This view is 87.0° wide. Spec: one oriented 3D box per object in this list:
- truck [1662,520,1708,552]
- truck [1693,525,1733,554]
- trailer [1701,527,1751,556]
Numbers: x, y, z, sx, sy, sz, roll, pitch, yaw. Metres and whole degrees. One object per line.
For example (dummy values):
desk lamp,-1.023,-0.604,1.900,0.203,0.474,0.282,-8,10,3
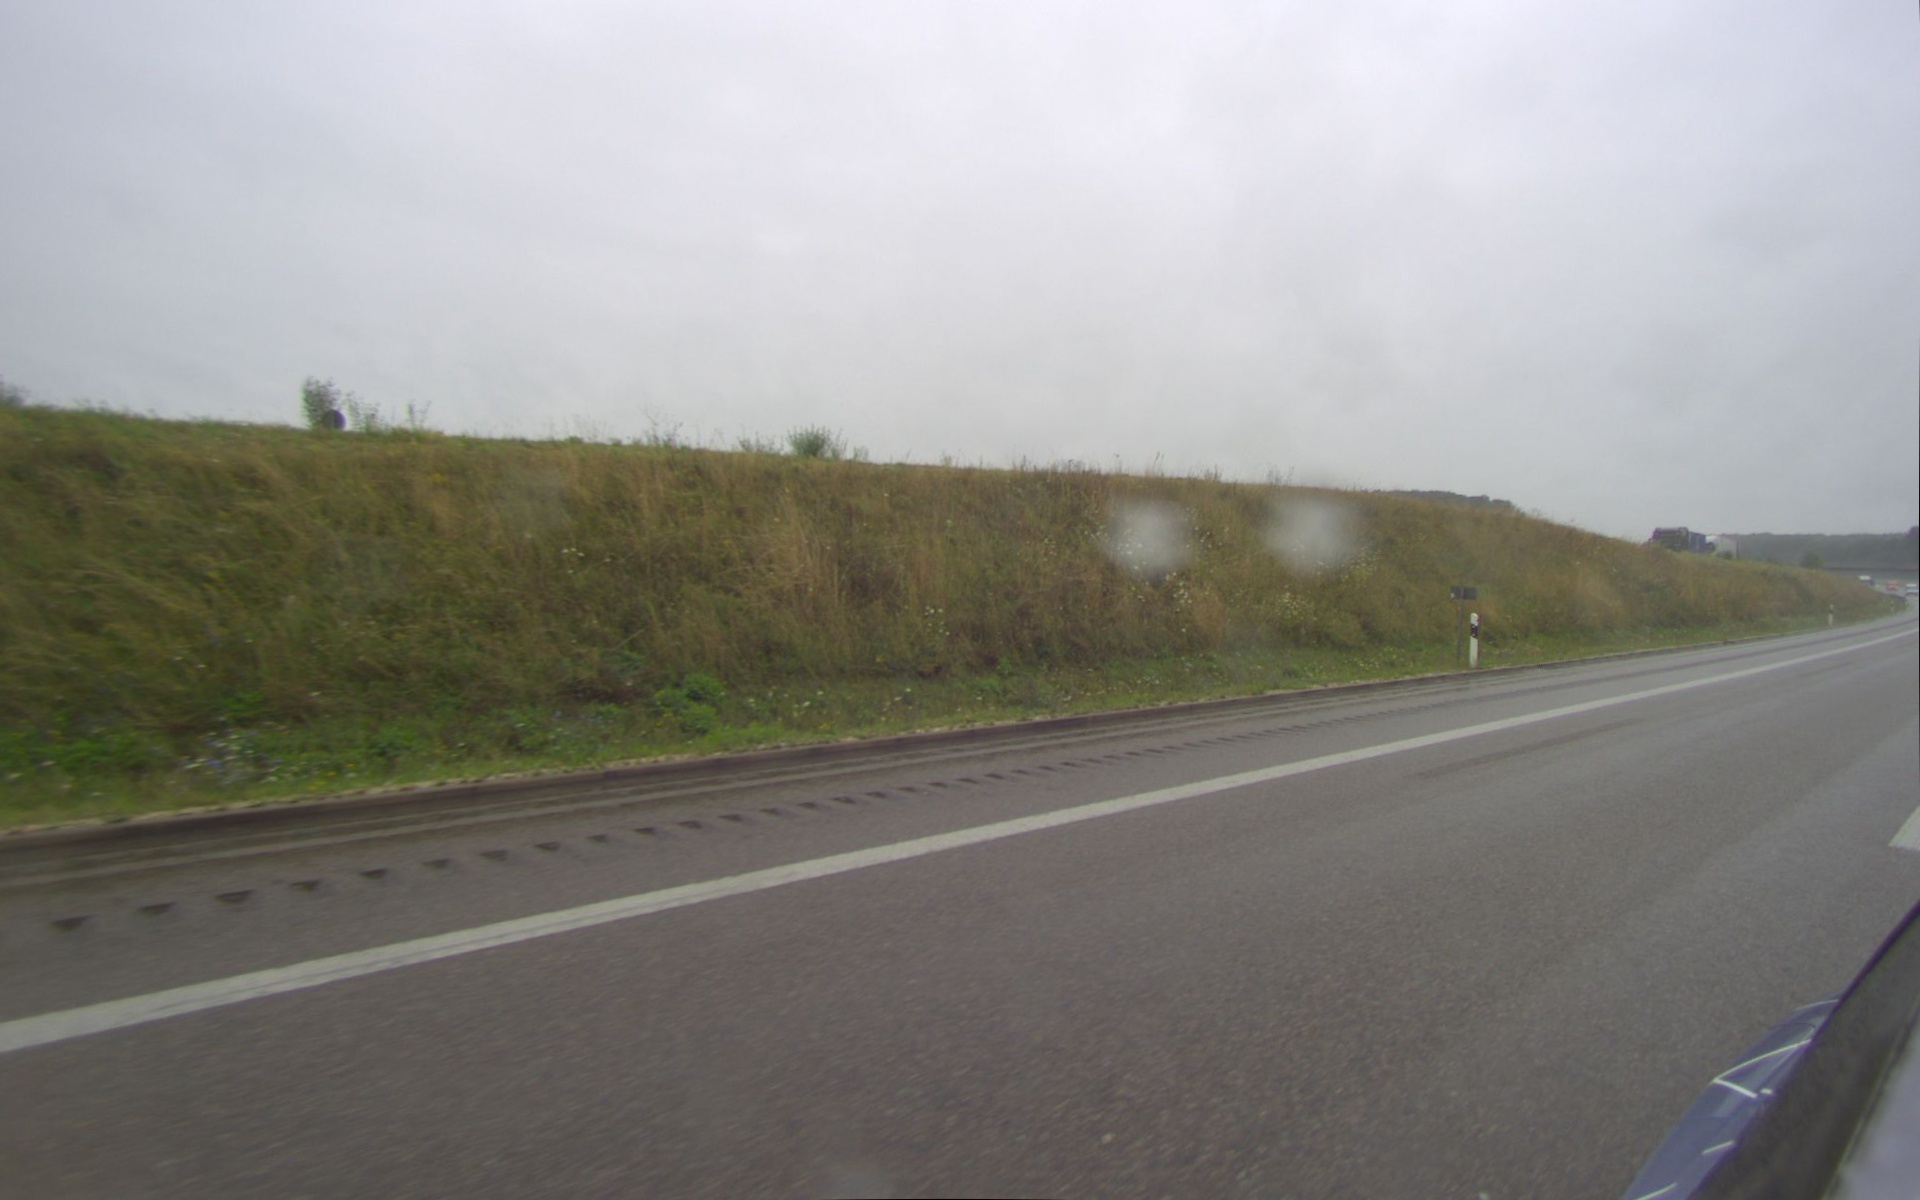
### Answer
truck,64.985,-5.672,90.660,4.976,2.637,2.369,-1,1,-42
truck,75.110,-5.988,100.898,4.998,2.600,2.426,-1,1,-45
trailer,80.592,-6.110,106.313,12.753,2.636,2.383,-1,1,-45
